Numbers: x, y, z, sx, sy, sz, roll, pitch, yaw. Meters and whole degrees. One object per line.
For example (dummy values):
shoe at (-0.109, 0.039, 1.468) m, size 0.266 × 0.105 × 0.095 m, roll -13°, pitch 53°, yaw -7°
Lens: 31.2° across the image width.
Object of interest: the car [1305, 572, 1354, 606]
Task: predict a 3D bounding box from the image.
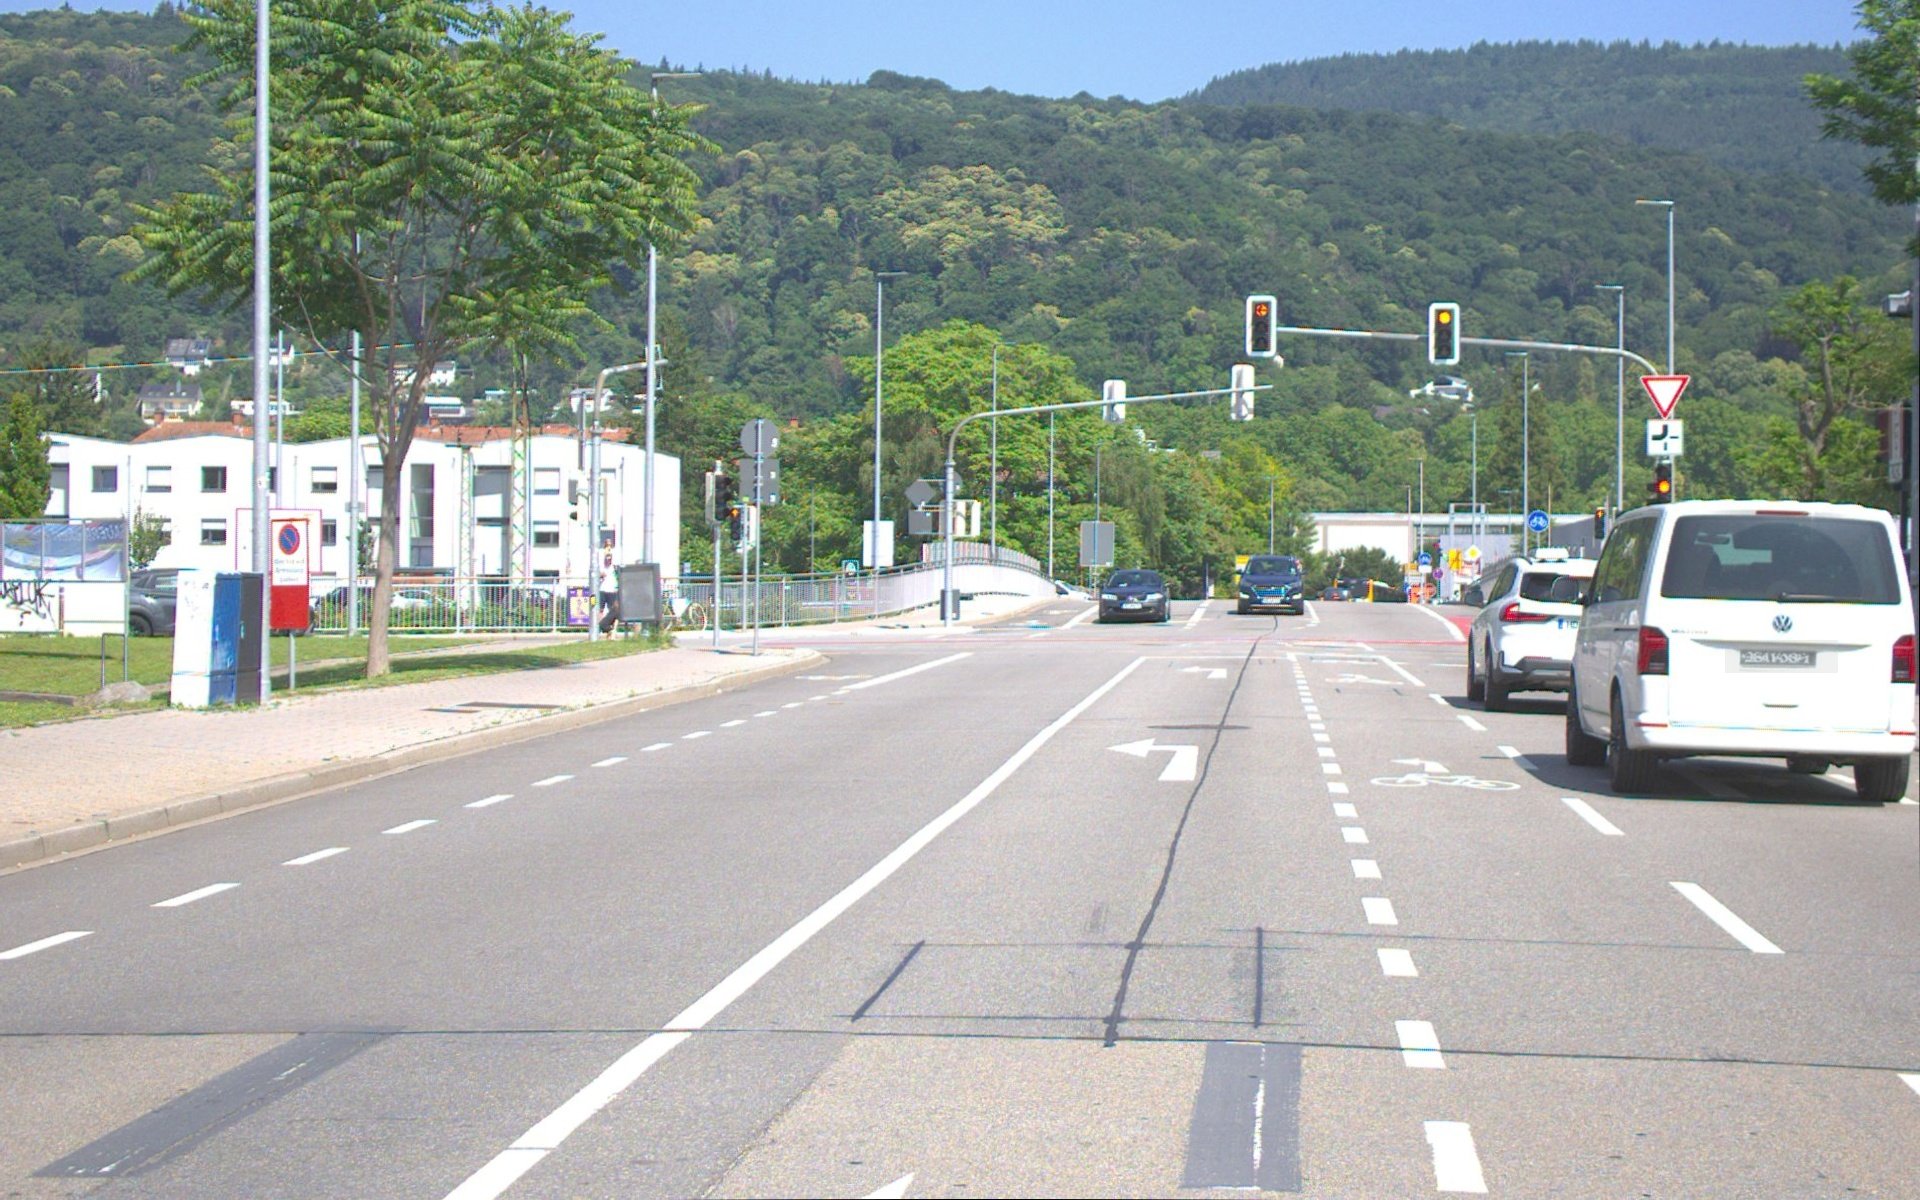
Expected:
car at (18.191, -0.563, 169.503) m, size 1.994 × 1.525 × 4.044 m, roll 3°, pitch 1°, yaw 2°

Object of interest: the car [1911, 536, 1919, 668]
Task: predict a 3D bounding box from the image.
car at (14.963, 0.025, 46.364) m, size 3.989 × 1.769 × 1.999 m, roll 0°, pitch 1°, yaw 12°

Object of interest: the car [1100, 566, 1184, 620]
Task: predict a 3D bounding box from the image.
car at (4.837, -0.212, 90.988) m, size 1.994 × 1.365 × 4.326 m, roll 0°, pitch 1°, yaw 6°

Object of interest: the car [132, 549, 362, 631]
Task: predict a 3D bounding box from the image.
car at (-14.030, -0.209, 67.836) m, size 4.314 × 1.587 × 2.001 m, roll 0°, pitch 1°, yaw -8°

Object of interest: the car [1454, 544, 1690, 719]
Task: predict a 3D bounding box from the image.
car at (6.477, 0.283, 36.841) m, size 1.935 × 1.681 × 4.544 m, roll 2°, pitch 1°, yaw 4°

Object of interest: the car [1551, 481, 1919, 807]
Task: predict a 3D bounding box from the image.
car at (5.347, 0.232, 24.032) m, size 1.935 × 2.052 × 4.544 m, roll 0°, pitch 1°, yaw 4°

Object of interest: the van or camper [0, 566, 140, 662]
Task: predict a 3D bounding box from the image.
van or camper at (-16.900, 0.205, 62.077) m, size 3.986 × 1.568 × 2.001 m, roll 3°, pitch 1°, yaw -12°

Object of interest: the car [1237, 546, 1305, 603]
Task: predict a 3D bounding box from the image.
car at (8.786, -0.733, 96.950) m, size 1.850 × 1.583 × 3.999 m, roll 0°, pitch 1°, yaw 6°
